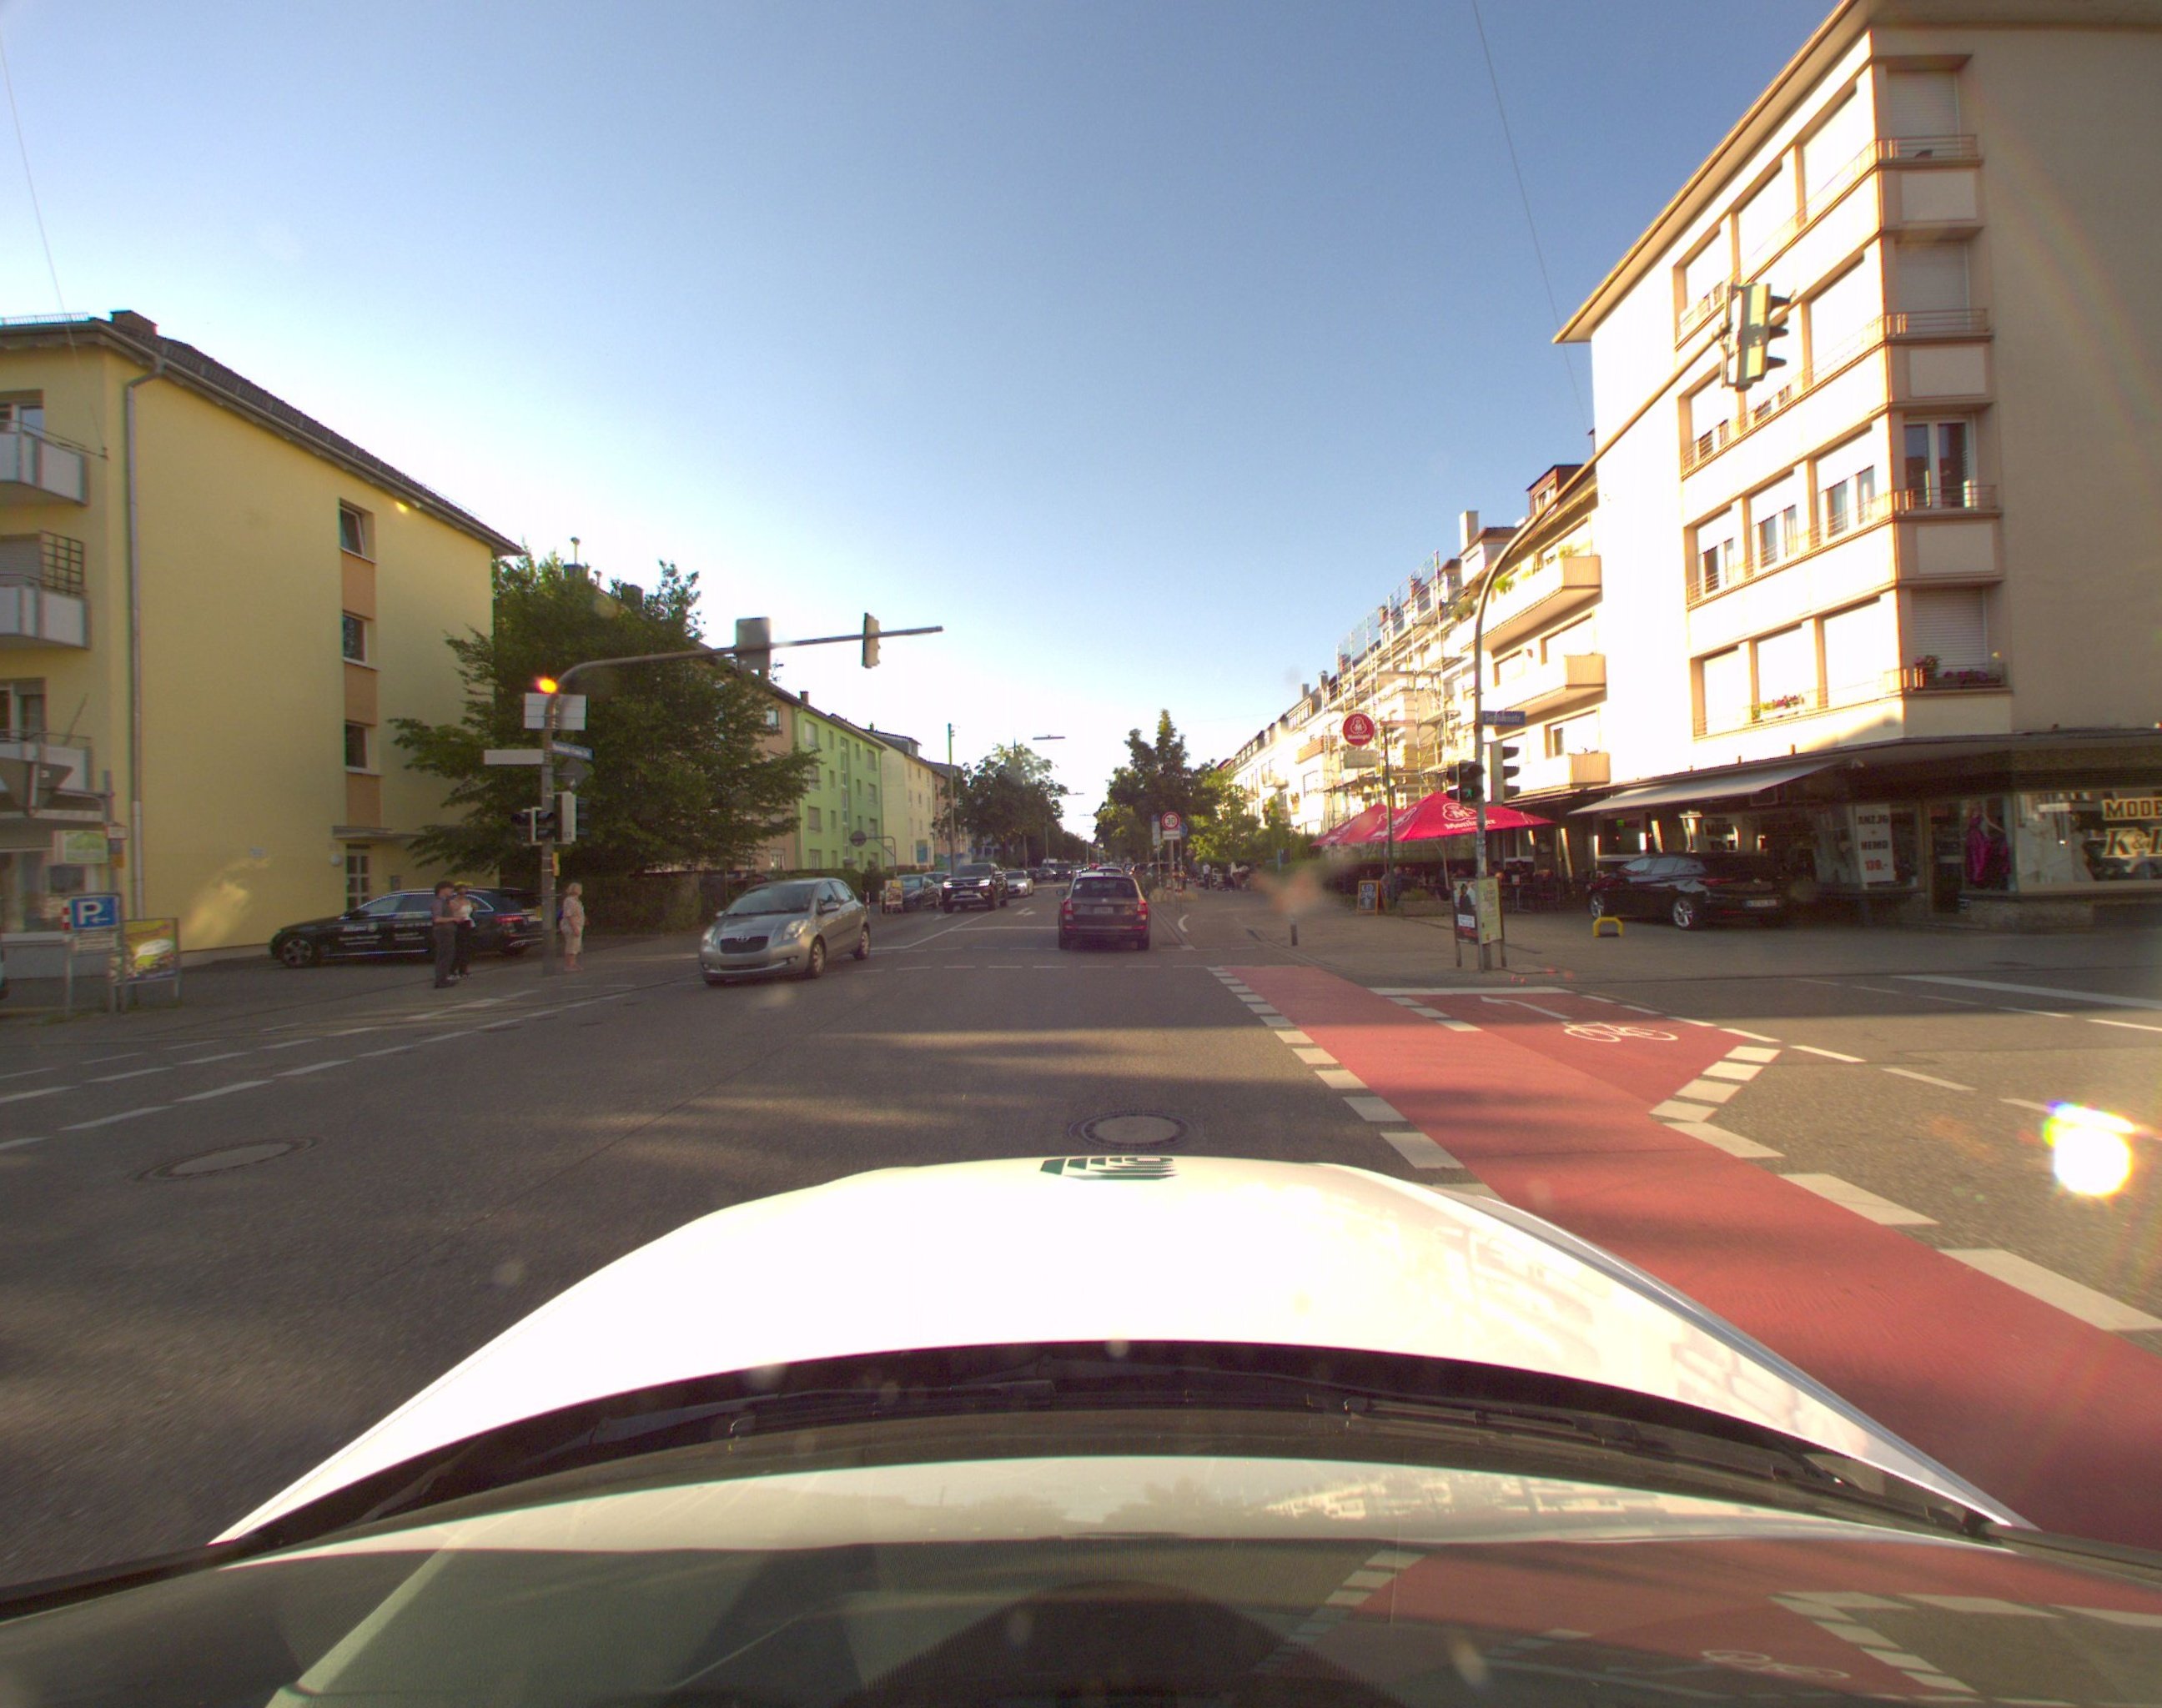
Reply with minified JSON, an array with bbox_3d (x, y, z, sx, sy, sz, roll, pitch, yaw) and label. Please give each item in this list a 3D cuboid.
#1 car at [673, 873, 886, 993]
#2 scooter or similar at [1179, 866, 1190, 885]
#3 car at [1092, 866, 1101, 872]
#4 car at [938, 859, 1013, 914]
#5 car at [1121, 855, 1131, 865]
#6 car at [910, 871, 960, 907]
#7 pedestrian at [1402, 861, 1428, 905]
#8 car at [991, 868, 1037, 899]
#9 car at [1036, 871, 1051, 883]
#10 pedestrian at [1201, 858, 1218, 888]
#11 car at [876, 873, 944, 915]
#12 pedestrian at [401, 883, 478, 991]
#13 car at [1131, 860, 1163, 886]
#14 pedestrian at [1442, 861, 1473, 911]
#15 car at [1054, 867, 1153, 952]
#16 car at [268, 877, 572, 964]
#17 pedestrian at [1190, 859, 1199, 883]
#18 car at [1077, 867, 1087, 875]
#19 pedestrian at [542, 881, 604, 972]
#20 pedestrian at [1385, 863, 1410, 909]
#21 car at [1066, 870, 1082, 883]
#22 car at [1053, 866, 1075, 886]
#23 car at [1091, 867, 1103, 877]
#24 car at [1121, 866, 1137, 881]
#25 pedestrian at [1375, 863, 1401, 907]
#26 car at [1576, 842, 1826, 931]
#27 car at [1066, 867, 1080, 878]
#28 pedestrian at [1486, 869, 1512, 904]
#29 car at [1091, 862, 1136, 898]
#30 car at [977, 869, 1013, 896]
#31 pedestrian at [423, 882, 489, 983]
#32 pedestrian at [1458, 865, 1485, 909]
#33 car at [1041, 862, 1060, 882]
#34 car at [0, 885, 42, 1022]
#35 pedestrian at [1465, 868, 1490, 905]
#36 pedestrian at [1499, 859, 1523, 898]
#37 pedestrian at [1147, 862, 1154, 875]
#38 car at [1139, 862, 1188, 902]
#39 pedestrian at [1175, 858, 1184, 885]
[{"bbox_3d":[-4.696,1.147,13.366,1.798,1.557,4.002,-4,-1,2],"label":"car"},{"bbox_3d":[7.403,1.503,58.056,0.742,1.317,0.722,-2,-1,8],"label":"scooter or similar"},{"bbox_3d":[4.284,4.177,225.939,1.989,1.750,3.994,-2,-1,-4],"label":"car"},{"bbox_3d":[-3.935,1.187,31.385,1.854,1.830,5.230,-4,-1,3],"label":"car"},{"bbox_3d":[8.059,1.085,145.180,1.747,1.686,4.255,-1,-1,3],"label":"car"},{"bbox_3d":[-6.689,1.579,37.632,1.632,1.552,3.784,-2,-1,-1],"label":"car"},{"bbox_3d":[8.949,0.782,21.845,0.483,1.150,0.526,-2,-2,6],"label":"pedestrian"},{"bbox_3d":[-3.531,1.544,43.719,1.830,1.473,4.673,-3,-1,2],"label":"car"},{"bbox_3d":[-4.469,2.745,97.698,1.606,1.473,3.813,0,-1,1],"label":"car"},{"bbox_3d":[6.846,1.009,43.447,0.557,1.568,0.744,-2,-1,-16],"label":"pedestrian"},{"bbox_3d":[-6.810,1.555,32.760,1.647,1.479,3.946,-2,-1,3],"label":"car"},{"bbox_3d":[-10.328,1.312,13.130,0.746,1.657,0.607,-2,-1,-6],"label":"pedestrian"},{"bbox_3d":[4.466,1.307,55.632,1.717,1.656,4.595,-2,-1,-1],"label":"car"},{"bbox_3d":[9.747,0.824,21.109,0.522,1.283,0.541,-1,-2,4],"label":"pedestrian"},{"bbox_3d":[0.514,1.019,16.444,1.747,1.492,4.003,-1,-1,3],"label":"car"},{"bbox_3d":[-13.234,1.301,16.539,4.577,1.614,1.842,0,-1,-1],"label":"car"},{"bbox_3d":[8.151,1.188,58.408,0.509,1.697,0.526,-2,-1,-3],"label":"pedestrian"},{"bbox_3d":[0.208,3.321,158.541,1.692,1.470,4.298,-3,-1,4],"label":"car"},{"bbox_3d":[-9.190,1.295,14.756,0.605,1.594,0.749,0,-2,-1],"label":"pedestrian"},{"bbox_3d":[8.146,0.815,20.946,0.410,1.150,0.632,-2,-2,6],"label":"pedestrian"},{"bbox_3d":[-0.851,2.836,101.575,1.810,1.446,4.110,-4,-1,0],"label":"car"},{"bbox_3d":[-1.811,2.331,86.268,1.986,1.946,4.778,-4,-1,1],"label":"car"},{"bbox_3d":[2.438,2.809,126.154,1.776,1.480,3.968,0,-1,-1],"label":"car"},{"bbox_3d":[5.639,2.282,95.752,1.712,1.601,4.097,-2,-1,1],"label":"car"},{"bbox_3d":[8.251,0.824,21.905,0.491,1.150,0.526,-2,-2,6],"label":"pedestrian"},{"bbox_3d":[11.966,0.600,16.147,1.821,1.484,4.205,-2,-1,2],"label":"car"},{"bbox_3d":[-1.192,2.739,120.522,1.825,1.470,4.452,-5,-1,1],"label":"car"},{"bbox_3d":[12.032,0.932,23.439,0.521,0.991,0.414,-2,-2,7],"label":"pedestrian"},{"bbox_3d":[1.437,1.172,36.508,1.885,1.506,3.790,2,-2,1],"label":"car"},{"bbox_3d":[-6.005,1.932,57.038,1.777,1.733,4.619,-2,-1,2],"label":"car"},{"bbox_3d":[-10.649,1.303,13.875,0.601,1.629,0.755,0,0,38],"label":"pedestrian"},{"bbox_3d":[10.545,0.886,21.982,0.521,1.150,0.414,-2,-2,7],"label":"pedestrian"},{"bbox_3d":[-4.054,2.380,109.009,1.986,2.616,7.106,-1,-1,1],"label":"car"},{"bbox_3d":[-16.892,1.412,10.541,4.456,1.848,1.908,-2,-1,1],"label":"car"},{"bbox_3d":[11.454,0.931,23.533,0.521,1.049,0.414,-2,-2,7],"label":"pedestrian"},{"bbox_3d":[13.513,0.779,25.590,0.521,1.189,0.414,-2,-3,7],"label":"pedestrian"},{"bbox_3d":[10.085,2.124,118.584,0.793,1.861,0.954,-3,-1,12],"label":"pedestrian"},{"bbox_3d":[3.626,1.202,36.338,1.786,1.632,4.029,-2,-1,1],"label":"car"},{"bbox_3d":[7.010,1.251,58.120,0.545,1.849,0.766,-2,-1,8],"label":"pedestrian"}]
